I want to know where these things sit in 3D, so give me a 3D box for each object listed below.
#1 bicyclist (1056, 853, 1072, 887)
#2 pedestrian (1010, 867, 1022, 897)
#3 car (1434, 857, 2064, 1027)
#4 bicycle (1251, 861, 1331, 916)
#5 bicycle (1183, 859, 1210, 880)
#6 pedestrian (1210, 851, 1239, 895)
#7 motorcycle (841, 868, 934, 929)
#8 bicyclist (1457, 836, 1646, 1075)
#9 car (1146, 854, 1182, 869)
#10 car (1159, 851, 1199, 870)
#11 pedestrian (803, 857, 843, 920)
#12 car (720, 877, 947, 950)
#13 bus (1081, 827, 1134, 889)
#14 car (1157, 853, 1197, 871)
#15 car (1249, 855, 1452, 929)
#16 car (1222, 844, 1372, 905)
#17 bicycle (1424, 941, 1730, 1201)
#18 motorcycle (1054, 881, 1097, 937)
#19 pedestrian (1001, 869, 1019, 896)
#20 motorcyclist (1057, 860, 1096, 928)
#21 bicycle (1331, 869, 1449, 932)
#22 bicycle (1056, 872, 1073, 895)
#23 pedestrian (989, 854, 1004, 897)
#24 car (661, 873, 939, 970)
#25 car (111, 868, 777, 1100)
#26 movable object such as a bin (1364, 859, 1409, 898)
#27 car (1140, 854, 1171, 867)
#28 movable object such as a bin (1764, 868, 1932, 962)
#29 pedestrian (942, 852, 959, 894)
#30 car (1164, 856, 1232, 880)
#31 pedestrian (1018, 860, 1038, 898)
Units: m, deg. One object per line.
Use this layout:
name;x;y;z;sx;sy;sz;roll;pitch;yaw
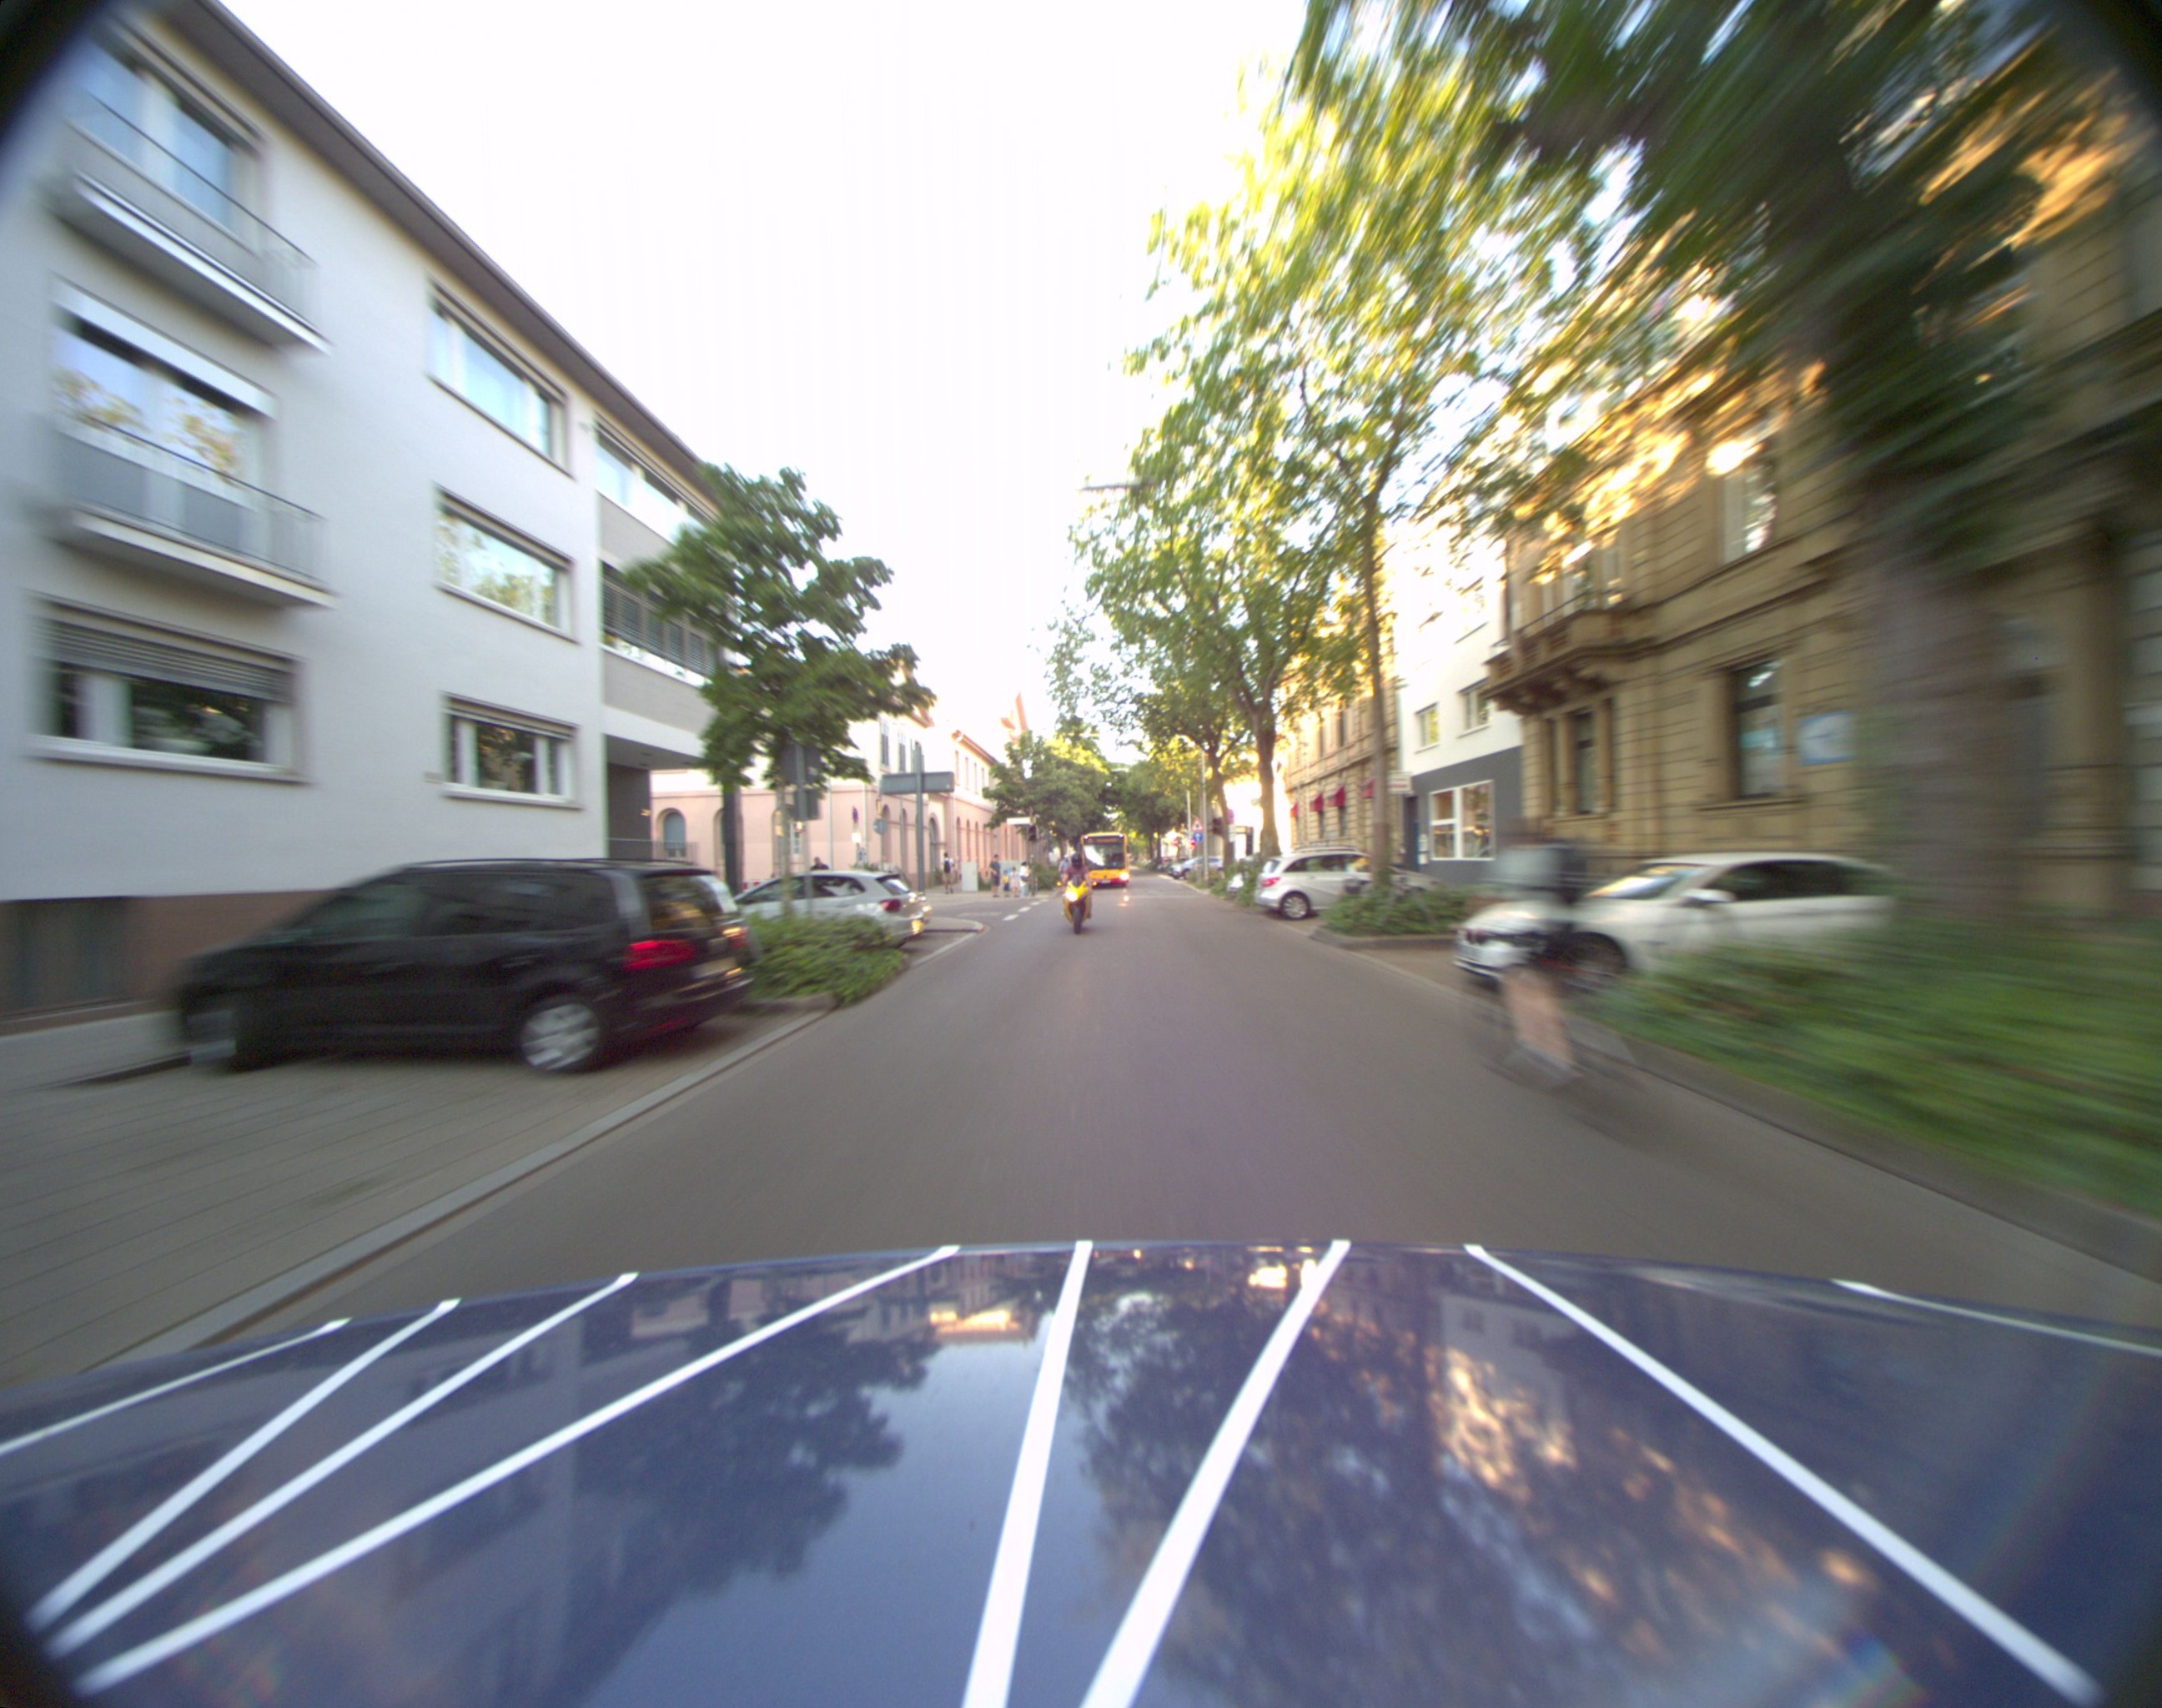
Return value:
bicyclist;-0.792;0.732;35.715;0.637;1.552;0.819;-4;0;2
pedestrian;-2.717;1.173;31.862;0.451;1.254;0.490;1;0;-3
car;6.281;0.800;7.678;4.523;1.382;1.917;-2;0;5
bicycle;5.411;0.881;19.620;1.799;1.318;0.774;-2;0;-3
bicycle;7.142;0.967;46.898;0.805;1.217;2.422;-5;-3;27
pedestrian;6.019;0.787;31.797;0.833;1.767;0.764;-3;1;-37
motorcycle;-4.649;1.054;18.299;1.910;1.384;1.001;-1;1;16
bicyclist;2.643;0.539;4.335;0.673;1.256;0.648;-1;0;3
car;10.262;0.906;94.045;3.999;1.699;1.999;-1;0;-5
car;10.873;0.742;84.181;3.999;1.940;1.999;-1;0;-5
pedestrian;-7.508;0.994;22.127;0.698;1.784;1.066;-1;0;4
car;-4.977;1.189;15.590;3.995;1.325;1.795;-1;0;6
bus;1.740;0.217;46.805;2.667;3.176;11.901;-3;0;3
car;10.324;0.855;81.728;3.999;1.801;1.799;-1;0;-5
car;6.237;0.868;18.009;4.179;1.548;1.827;-2;0;6
car;7.141;0.655;25.496;4.435;1.712;1.891;-4;0;1
bicycle;2.659;1.092;4.348;0.673;0.988;1.759;-1;0;4
motorcycle;-0.082;1.142;16.220;0.737;1.053;1.965;-2;0;4
pedestrian;-3.044;1.222;32.526;0.491;1.138;0.547;1;1;40
motorcyclist;-0.085;0.831;16.245;0.737;1.404;0.727;-2;0;4
bicycle;5.432;0.819;13.432;1.798;1.003;0.599;-3;1;4
bicycle;-0.755;1.367;35.694;0.637;0.977;1.982;-4;-1;2
pedestrian;-3.570;0.903;32.130;0.544;1.764;0.576;1;0;5
car;-4.622;1.100;12.891;3.996;1.429;1.795;-1;0;4
car;-5.083;0.987;6.510;4.118;1.608;1.961;-1;0;4
movable object such as a bin;8.764;0.688;21.854;0.776;1.055;1.317;-2;0;3
car;10.303;0.893;105.122;3.999;1.699;1.844;-1;0;-5
movable object such as a bin;9.788;0.748;9.768;0.802;1.055;1.317;-4;0;3
pedestrian;-5.862;0.841;34.168;0.699;1.844;1.049;0;0;-8
car;8.394;0.972;54.508;4.363;1.561;1.944;-1;1;-19
pedestrian;-2.160;1.021;31.035;0.600;1.502;0.719;0;0;-26
